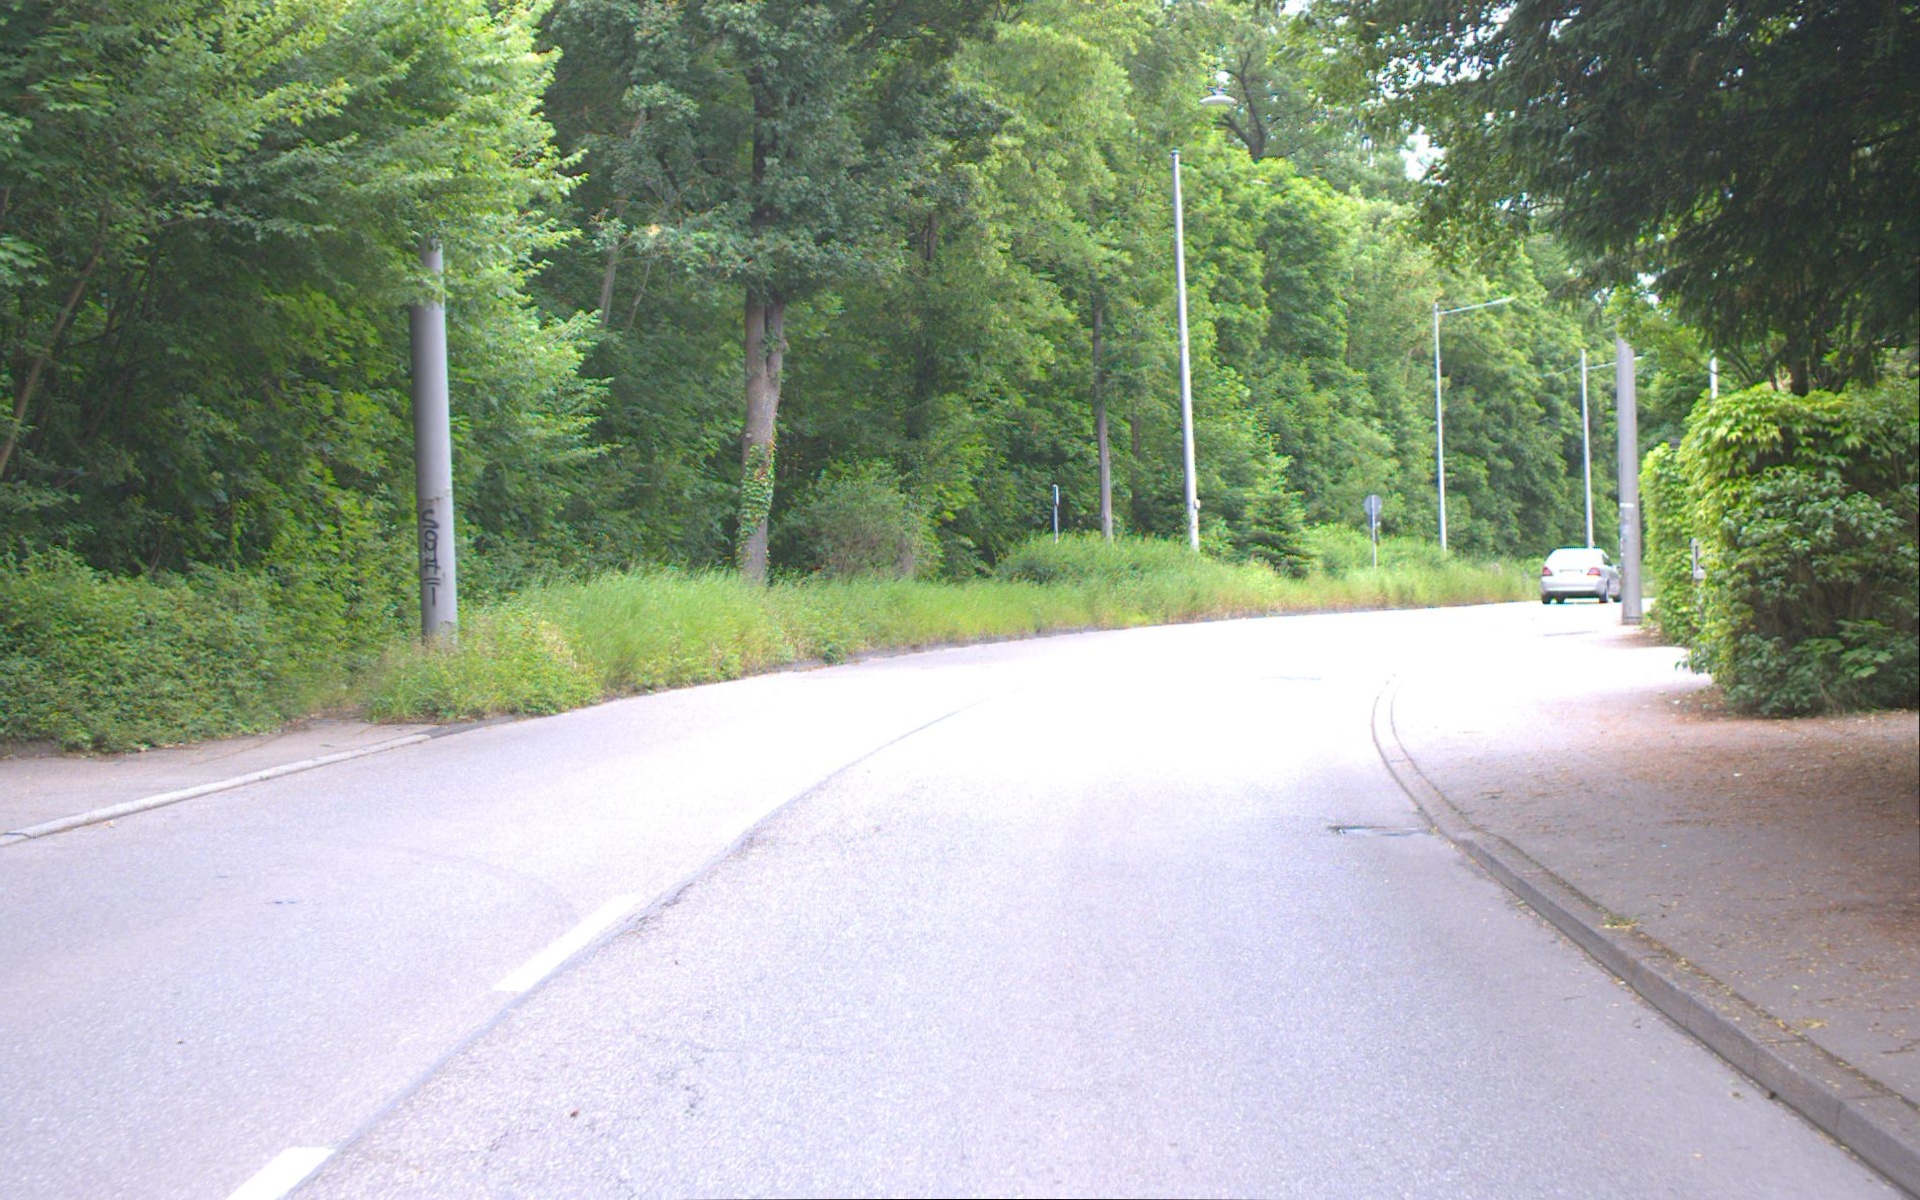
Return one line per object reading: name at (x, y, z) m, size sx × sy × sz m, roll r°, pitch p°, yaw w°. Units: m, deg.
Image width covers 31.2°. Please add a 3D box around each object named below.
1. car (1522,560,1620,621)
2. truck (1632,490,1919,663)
car at (15.853, -0.261, 89.063) m, size 1.995 × 1.481 × 3.997 m, roll -1°, pitch 1°, yaw 17°
truck at (8.419, -0.248, 35.416) m, size 1.350 × 1.684 × 3.060 m, roll -2°, pitch 1°, yaw -26°
